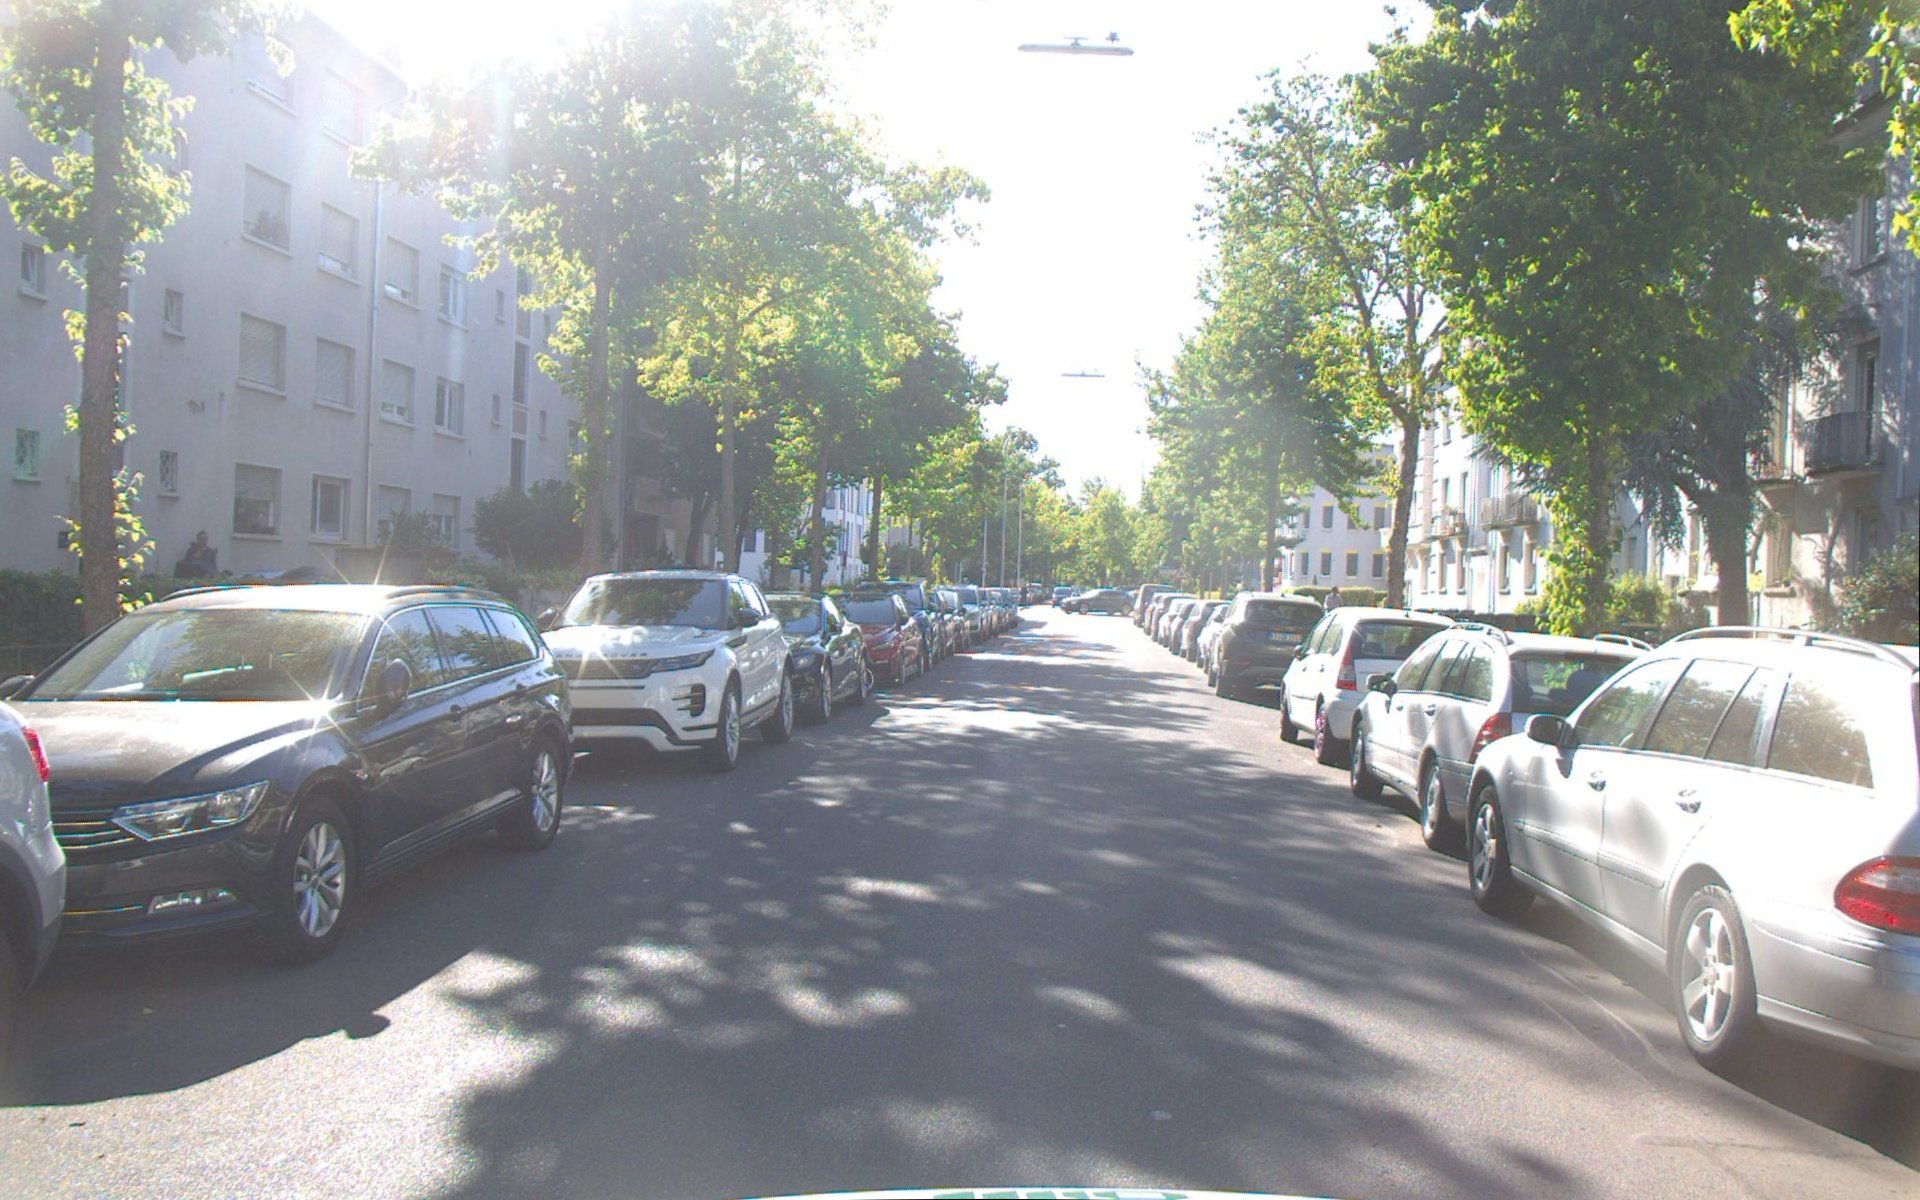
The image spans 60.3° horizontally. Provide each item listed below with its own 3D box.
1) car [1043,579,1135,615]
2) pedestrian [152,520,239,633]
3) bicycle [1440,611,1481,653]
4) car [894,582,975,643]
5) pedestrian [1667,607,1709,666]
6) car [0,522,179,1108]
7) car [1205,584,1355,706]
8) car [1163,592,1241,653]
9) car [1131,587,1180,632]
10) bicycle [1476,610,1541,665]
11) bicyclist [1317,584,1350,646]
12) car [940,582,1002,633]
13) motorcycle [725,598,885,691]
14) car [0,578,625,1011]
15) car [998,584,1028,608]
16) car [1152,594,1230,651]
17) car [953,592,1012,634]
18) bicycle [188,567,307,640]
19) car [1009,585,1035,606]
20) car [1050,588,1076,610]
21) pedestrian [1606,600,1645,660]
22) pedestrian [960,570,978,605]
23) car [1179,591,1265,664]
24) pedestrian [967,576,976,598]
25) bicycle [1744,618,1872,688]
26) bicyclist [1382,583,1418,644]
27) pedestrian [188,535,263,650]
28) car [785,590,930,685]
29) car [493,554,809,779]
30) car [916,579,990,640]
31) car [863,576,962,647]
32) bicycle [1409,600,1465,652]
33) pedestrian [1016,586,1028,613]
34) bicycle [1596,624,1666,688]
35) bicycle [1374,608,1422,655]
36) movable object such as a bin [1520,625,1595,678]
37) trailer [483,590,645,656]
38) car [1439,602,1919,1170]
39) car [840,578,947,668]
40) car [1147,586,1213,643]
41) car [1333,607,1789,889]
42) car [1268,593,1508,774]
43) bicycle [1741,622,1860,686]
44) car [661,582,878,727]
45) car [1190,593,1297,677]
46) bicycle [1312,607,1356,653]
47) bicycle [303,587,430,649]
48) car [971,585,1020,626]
[{"bbox_3d":[7.476,-0.183,95.566,5.016,1.853,1.980,3,0,-30],"label":"car"},{"bbox_3d":[-13.384,-0.407,28.982,0.913,1.921,1.027,2,0,13],"label":"pedestrian"},{"bbox_3d":[12.530,0.792,41.464,0.583,0.974,1.904,1,0,4],"label":"bicycle"},{"bbox_3d":[-0.592,0.293,41.705,1.725,1.469,3.910,0,0,4],"label":"car"},{"bbox_3d":[14.811,0.731,33.653,0.499,1.162,0.756,2,0,3],"label":"pedestrian"},{"bbox_3d":[-3.571,0.556,2.902,2.021,1.550,4.723,2,1,1],"label":"car"},{"bbox_3d":[5.134,0.651,27.175,1.885,1.680,5.098,4,1,6],"label":"car"},{"bbox_3d":[6.537,0.581,44.982,1.751,1.478,3.784,3,1,4],"label":"car"},{"bbox_3d":[9.072,0.405,77.117,1.929,1.983,4.988,2,0,4],"label":"car"},{"bbox_3d":[12.221,0.820,36.923,0.787,1.135,2.000,3,0,2],"label":"bicycle"},{"bbox_3d":[10.099,0.403,44.735,0.663,1.637,0.922,1,0,1],"label":"bicyclist"},{"bbox_3d":[0.374,0.230,52.808,1.674,1.571,3.932,0,0,5],"label":"car"},{"bbox_3d":[-2.205,0.629,23.590,2.241,1.293,0.807,0,0,-6],"label":"motorcycle"},{"bbox_3d":[-3.120,0.638,8.071,1.692,1.472,4.823,0,1,4],"label":"car"},{"bbox_3d":[3.937,-0.319,121.691,1.951,1.700,4.002,2,1,4],"label":"car"},{"bbox_3d":[6.998,0.652,50.561,1.858,1.499,4.701,5,0,3],"label":"car"},{"bbox_3d":[0.865,0.445,61.513,1.952,1.478,4.264,-1,0,4],"label":"car"},{"bbox_3d":[-12.055,0.075,28.044,0.502,1.173,1.952,3,0,27],"label":"bicycle"},{"bbox_3d":[5.125,-0.399,136.942,1.951,1.612,4.002,2,1,4],"label":"car"},{"bbox_3d":[7.989,-0.110,128.956,1.746,1.637,4.000,2,0,0],"label":"car"},{"bbox_3d":[13.438,0.597,33.392,0.499,1.162,0.756,2,0,6],"label":"pedestrian"},{"bbox_3d":[0.542,-0.758,99.712,0.841,2.049,0.982,2,0,13],"label":"pedestrian"},{"bbox_3d":[6.313,0.613,40.289,1.657,1.567,4.444,3,1,5],"label":"car"},{"bbox_3d":[1.059,-1.163,148.505,0.746,1.933,0.818,2,0,-2],"label":"pedestrian"},{"bbox_3d":[14.569,0.901,28.445,1.857,1.119,0.583,1,0,8],"label":"bicycle"},{"bbox_3d":[11.664,0.360,43.896,0.662,1.580,1.022,1,0,1],"label":"bicyclist"},{"bbox_3d":[-12.711,-0.129,28.627,0.766,1.947,0.876,1,0,31],"label":"pedestrian"},{"bbox_3d":[-1.562,0.544,26.708,1.742,1.403,4.265,0,0,5],"label":"car"},{"bbox_3d":[-2.530,0.488,14.614,1.692,1.646,4.368,-1,0,3],"label":"car"},{"bbox_3d":[-0.155,0.258,47.296,1.773,1.624,4.235,1,0,4],"label":"car"},{"bbox_3d":[-1.009,0.228,36.974,1.791,1.478,4.124,1,0,4],"label":"car"},{"bbox_3d":[12.632,0.673,43.864,0.821,1.279,2.231,3,0,1],"label":"bicycle"},{"bbox_3d":[4.437,-0.044,118.082,0.701,1.933,0.836,2,0,-5],"label":"pedestrian"},{"bbox_3d":[11.351,0.937,28.031,0.569,0.992,1.905,1,0,6],"label":"bicycle"},{"bbox_3d":[11.650,0.818,44.093,0.669,1.173,2.403,2,0,1],"label":"bicycle"},{"bbox_3d":[11.404,0.966,31.547,1.197,0.920,1.663,2,1,25],"label":"movable object such as a bin"},{"bbox_3d":[-6.949,0.378,29.362,1.751,1.052,3.284,2,0,6],"label":"trailer"},{"bbox_3d":[3.529,0.837,6.929,1.783,1.495,4.911,4,1,3],"label":"car"},{"bbox_3d":[-1.218,0.403,32.023,1.752,1.594,4.466,-1,0,1],"label":"car"},{"bbox_3d":[7.523,0.463,56.892,1.867,1.728,4.316,5,1,4],"label":"car"},{"bbox_3d":[3.986,0.854,11.901,1.675,1.435,4.864,4,1,3],"label":"car"},{"bbox_3d":[4.414,0.778,17.615,1.620,1.558,3.971,4,1,3],"label":"car"},{"bbox_3d":[15.588,0.997,30.706,1.857,1.119,0.583,1,0,8],"label":"bicycle"},{"bbox_3d":[-2.155,0.572,19.946,1.692,1.503,4.622,-2,0,5],"label":"car"},{"bbox_3d":[5.876,0.675,34.661,1.714,1.479,4.465,4,1,4],"label":"car"},{"bbox_3d":[10.086,0.788,44.661,0.669,1.173,2.403,2,0,1],"label":"bicycle"},{"bbox_3d":[-9.845,0.294,27.455,1.907,0.933,0.514,3,0,5],"label":"bicycle"},{"bbox_3d":[1.470,0.194,67.559,1.801,1.623,4.264,0,0,4],"label":"car"}]
